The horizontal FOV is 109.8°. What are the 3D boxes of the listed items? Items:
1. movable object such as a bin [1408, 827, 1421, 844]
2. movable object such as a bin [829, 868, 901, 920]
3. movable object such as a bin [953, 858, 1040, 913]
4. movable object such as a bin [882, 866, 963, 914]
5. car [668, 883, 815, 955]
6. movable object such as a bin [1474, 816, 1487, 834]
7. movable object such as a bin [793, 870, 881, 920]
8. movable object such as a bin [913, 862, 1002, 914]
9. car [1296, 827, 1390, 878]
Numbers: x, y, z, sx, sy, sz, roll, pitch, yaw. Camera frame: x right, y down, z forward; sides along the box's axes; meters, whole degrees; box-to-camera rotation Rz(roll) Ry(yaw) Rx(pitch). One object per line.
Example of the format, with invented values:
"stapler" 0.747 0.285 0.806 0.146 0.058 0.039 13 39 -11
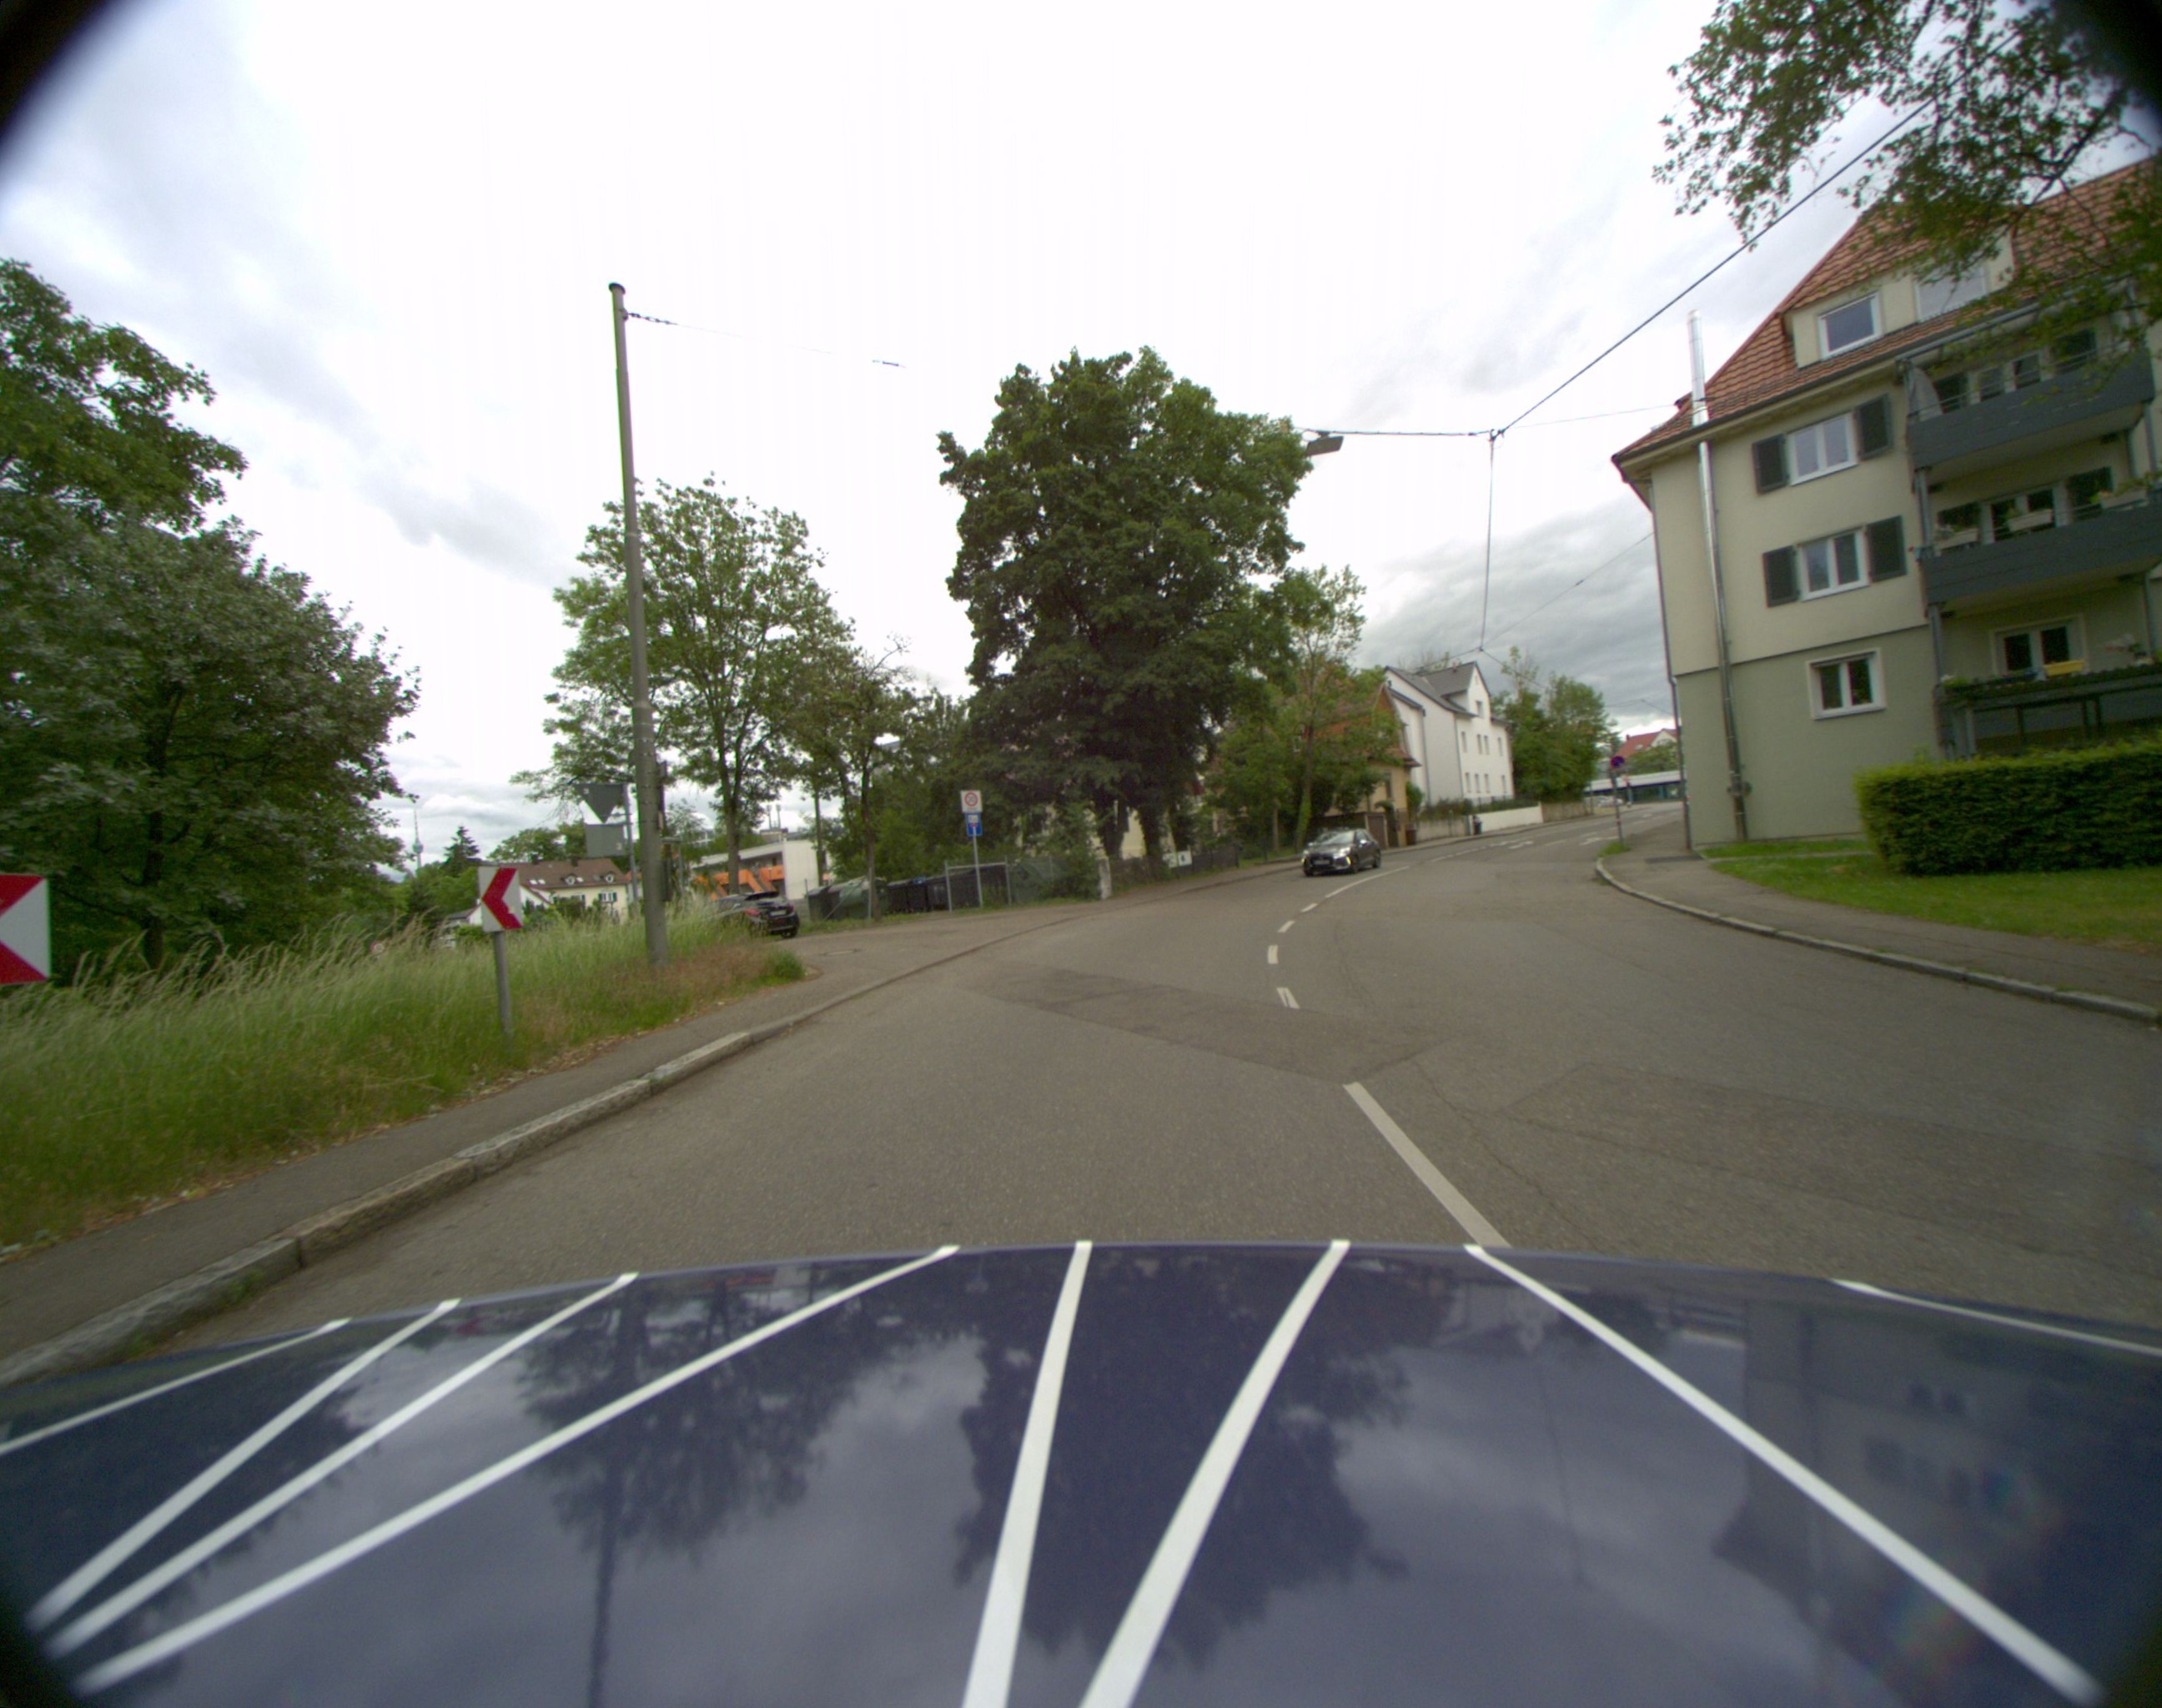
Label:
"movable object such as a bin" 18.964 -1.070 43.215 0.567 0.919 0.461 -7 5 -45
"movable object such as a bin" -7.232 1.340 25.506 1.423 1.538 1.678 -5 1 35
"movable object such as a bin" -3.119 1.161 28.162 2.105 1.777 2.211 -5 1 39
"movable object such as a bin" -6.575 1.493 31.597 2.230 1.722 2.211 -5 1 39
"car" -9.605 1.839 21.457 3.665 1.390 1.834 -10 -1 30
"movable object such as a bin" 26.459 -1.916 50.324 0.635 1.172 0.528 -7 5 -45
"movable object such as a bin" -8.783 1.484 27.329 2.890 1.538 1.449 -5 1 35
"movable object such as a bin" -4.855 1.339 29.947 2.494 1.703 2.211 -5 1 39
"car" 8.963 -0.075 25.792 1.643 1.390 3.787 -3 2 41
